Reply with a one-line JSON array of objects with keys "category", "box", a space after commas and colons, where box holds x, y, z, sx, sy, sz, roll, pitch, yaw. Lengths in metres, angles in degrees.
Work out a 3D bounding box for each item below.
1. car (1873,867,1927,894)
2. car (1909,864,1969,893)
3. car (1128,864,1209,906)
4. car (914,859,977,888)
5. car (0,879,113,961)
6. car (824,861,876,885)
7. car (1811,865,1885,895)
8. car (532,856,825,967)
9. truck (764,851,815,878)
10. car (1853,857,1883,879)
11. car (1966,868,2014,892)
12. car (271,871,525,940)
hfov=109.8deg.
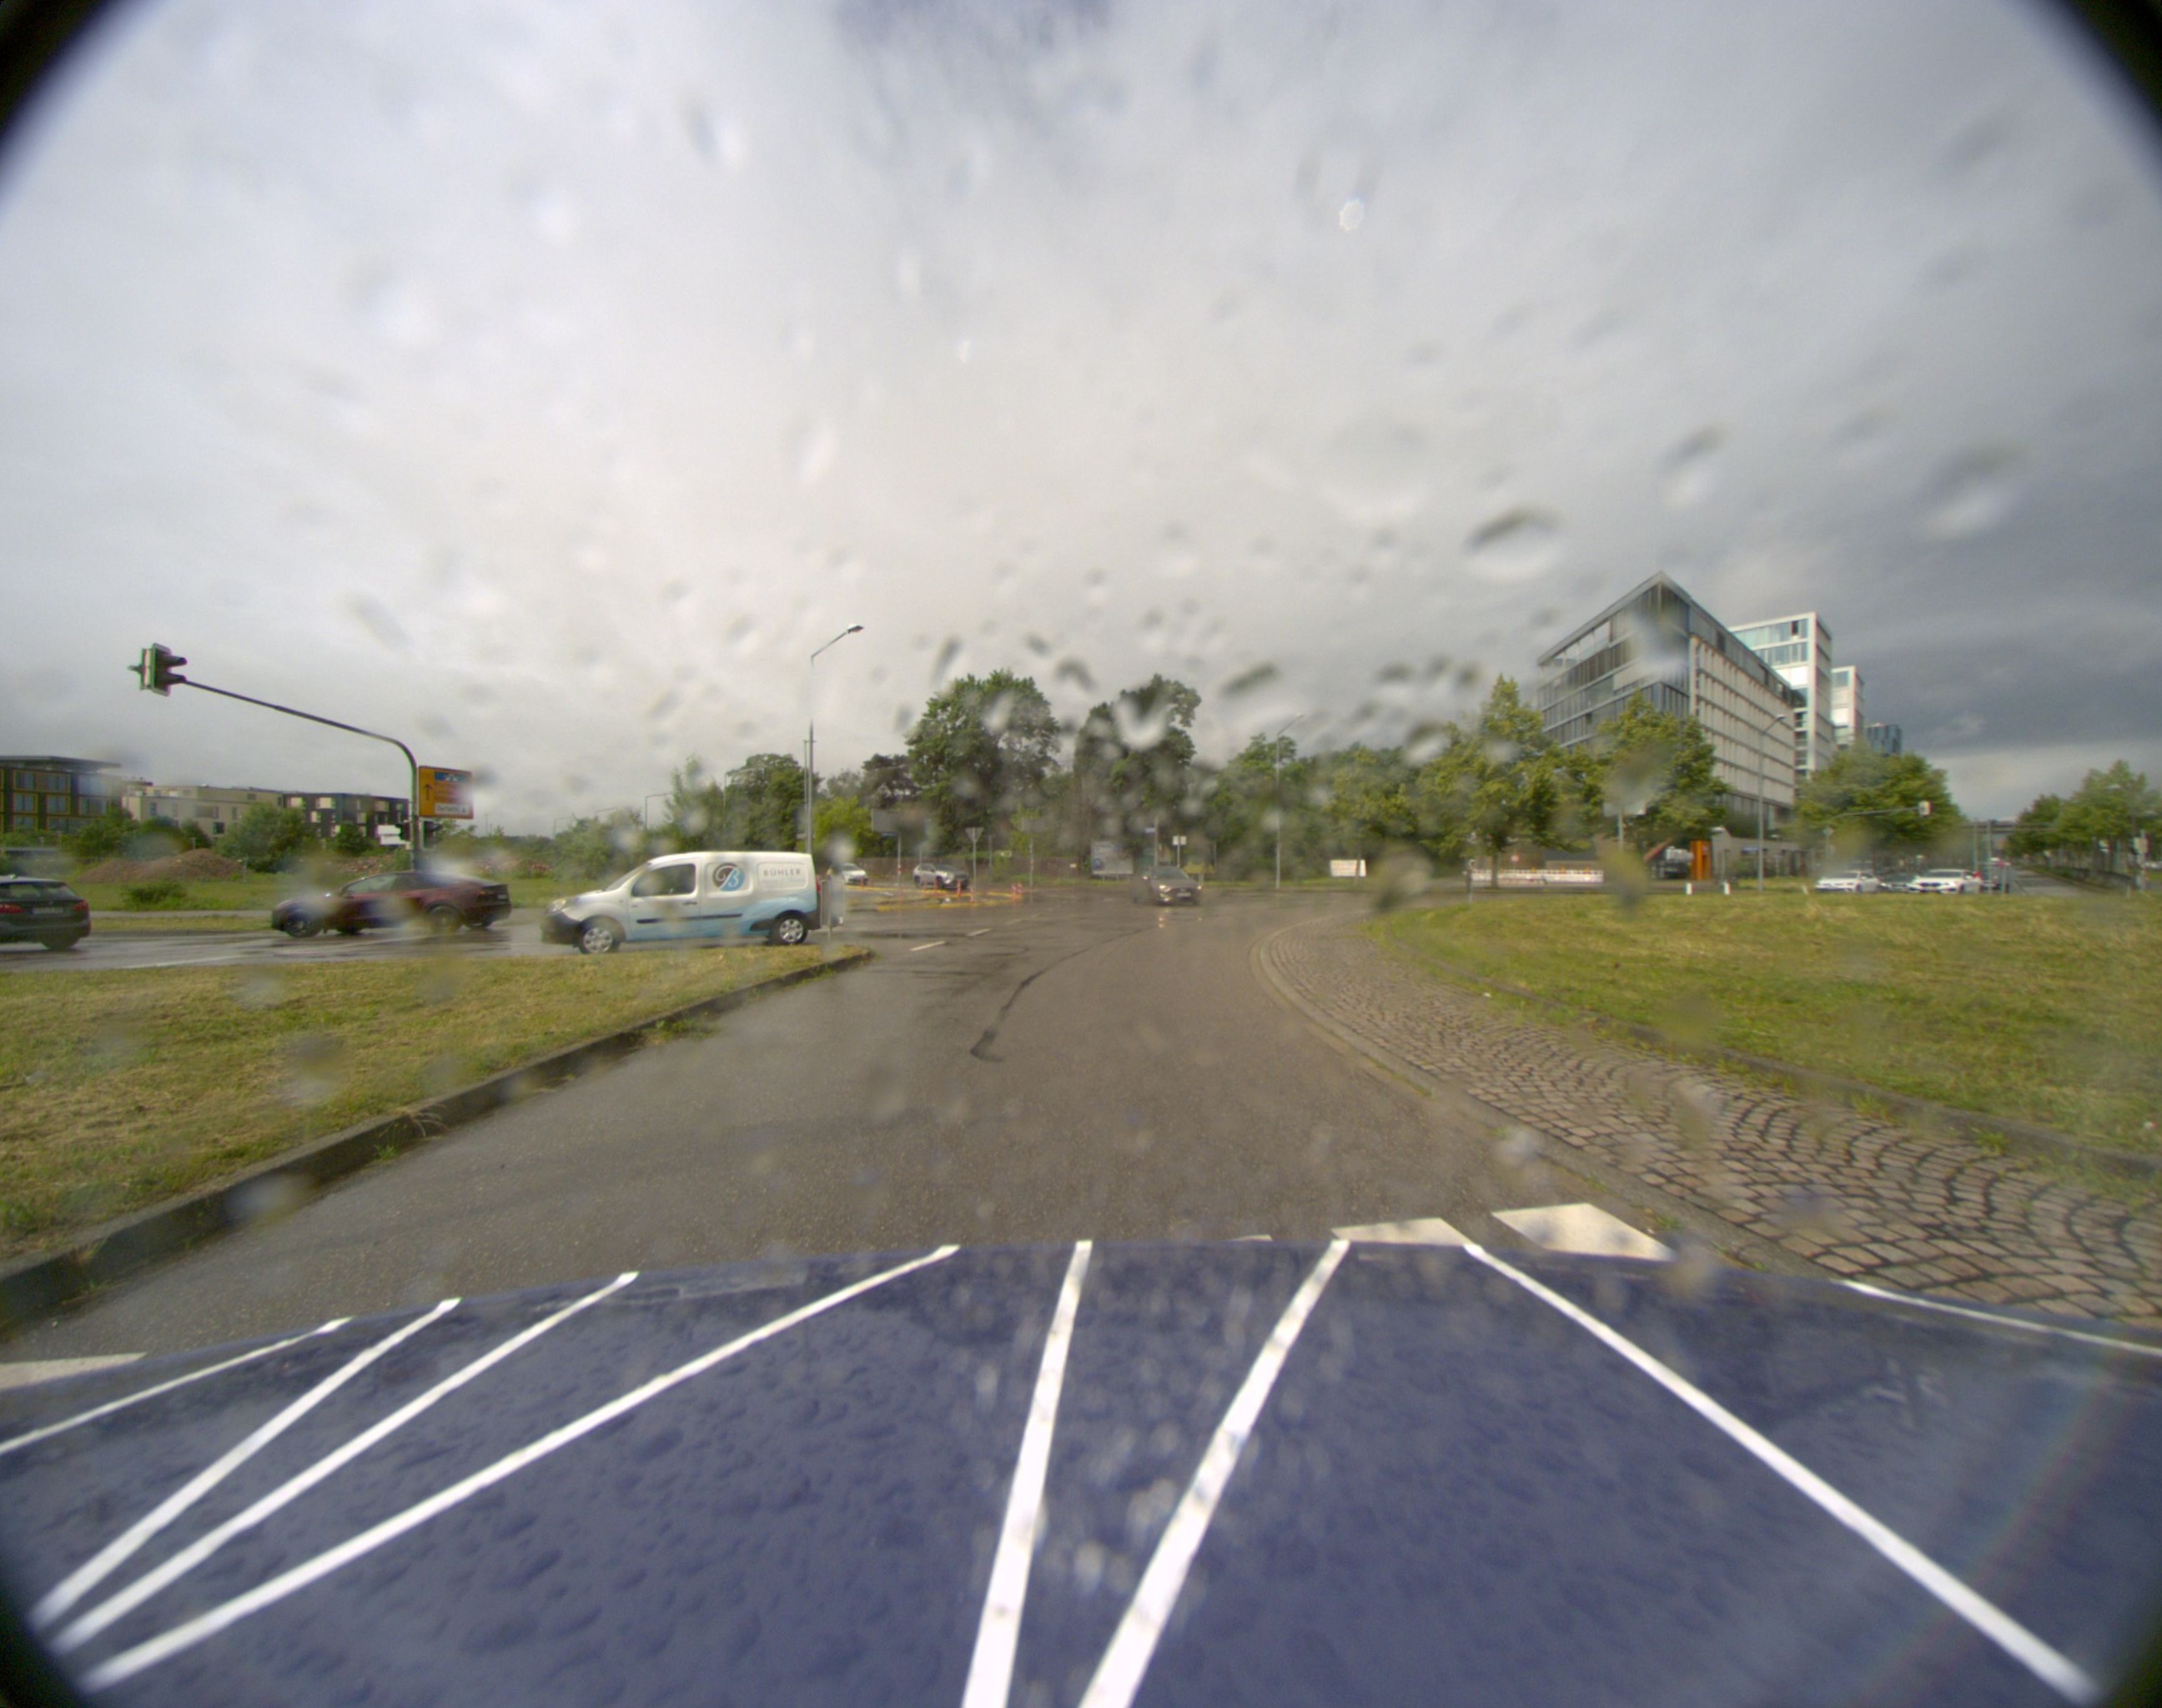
[{"category": "car", "box": [53.051, 1.738, 49.196, 4.480, 1.662, 1.862, 2, -2, -36]}, {"category": "car", "box": [45.992, 1.269, 40.734, 3.912, 1.499, 1.722, 0, -1, -35]}, {"category": "car", "box": [3.185, 1.111, 28.451, 1.736, 1.405, 4.123, -1, 0, -13]}, {"category": "car", "box": [-8.524, 1.181, 47.480, 1.879, 1.653, 4.471, -1, 0, -40]}, {"category": "car", "box": [-22.513, 1.289, 15.099, 3.998, 1.519, 1.810, 0, 0, -4]}, {"category": "car", "box": [-17.524, 1.407, 57.531, 1.879, 1.653, 4.470, -3, 1, -44]}, {"category": "car", "box": [44.721, 1.529, 44.311, 4.478, 1.662, 1.863, 2, -1, -28]}, {"category": "car", "box": [-7.349, 0.942, 14.184, 4.559, 1.752, 1.863, -1, 0, -32]}, {"category": "truck", "box": [-30.381, 1.067, 79.019, 2.467, 2.710, 6.926, 0, 0, -44]}, {"category": "car", "box": [86.959, 1.605, 83.921, 4.480, 2.345, 1.862, 2, -2, -38]}, {"category": "car", "box": [60.636, 1.684, 50.680, 3.912, 1.499, 1.722, 0, -1, -35]}, {"category": "car", "box": [-17.443, 1.265, 19.683, 4.502, 1.647, 1.873, 0, -1, -16]}]
